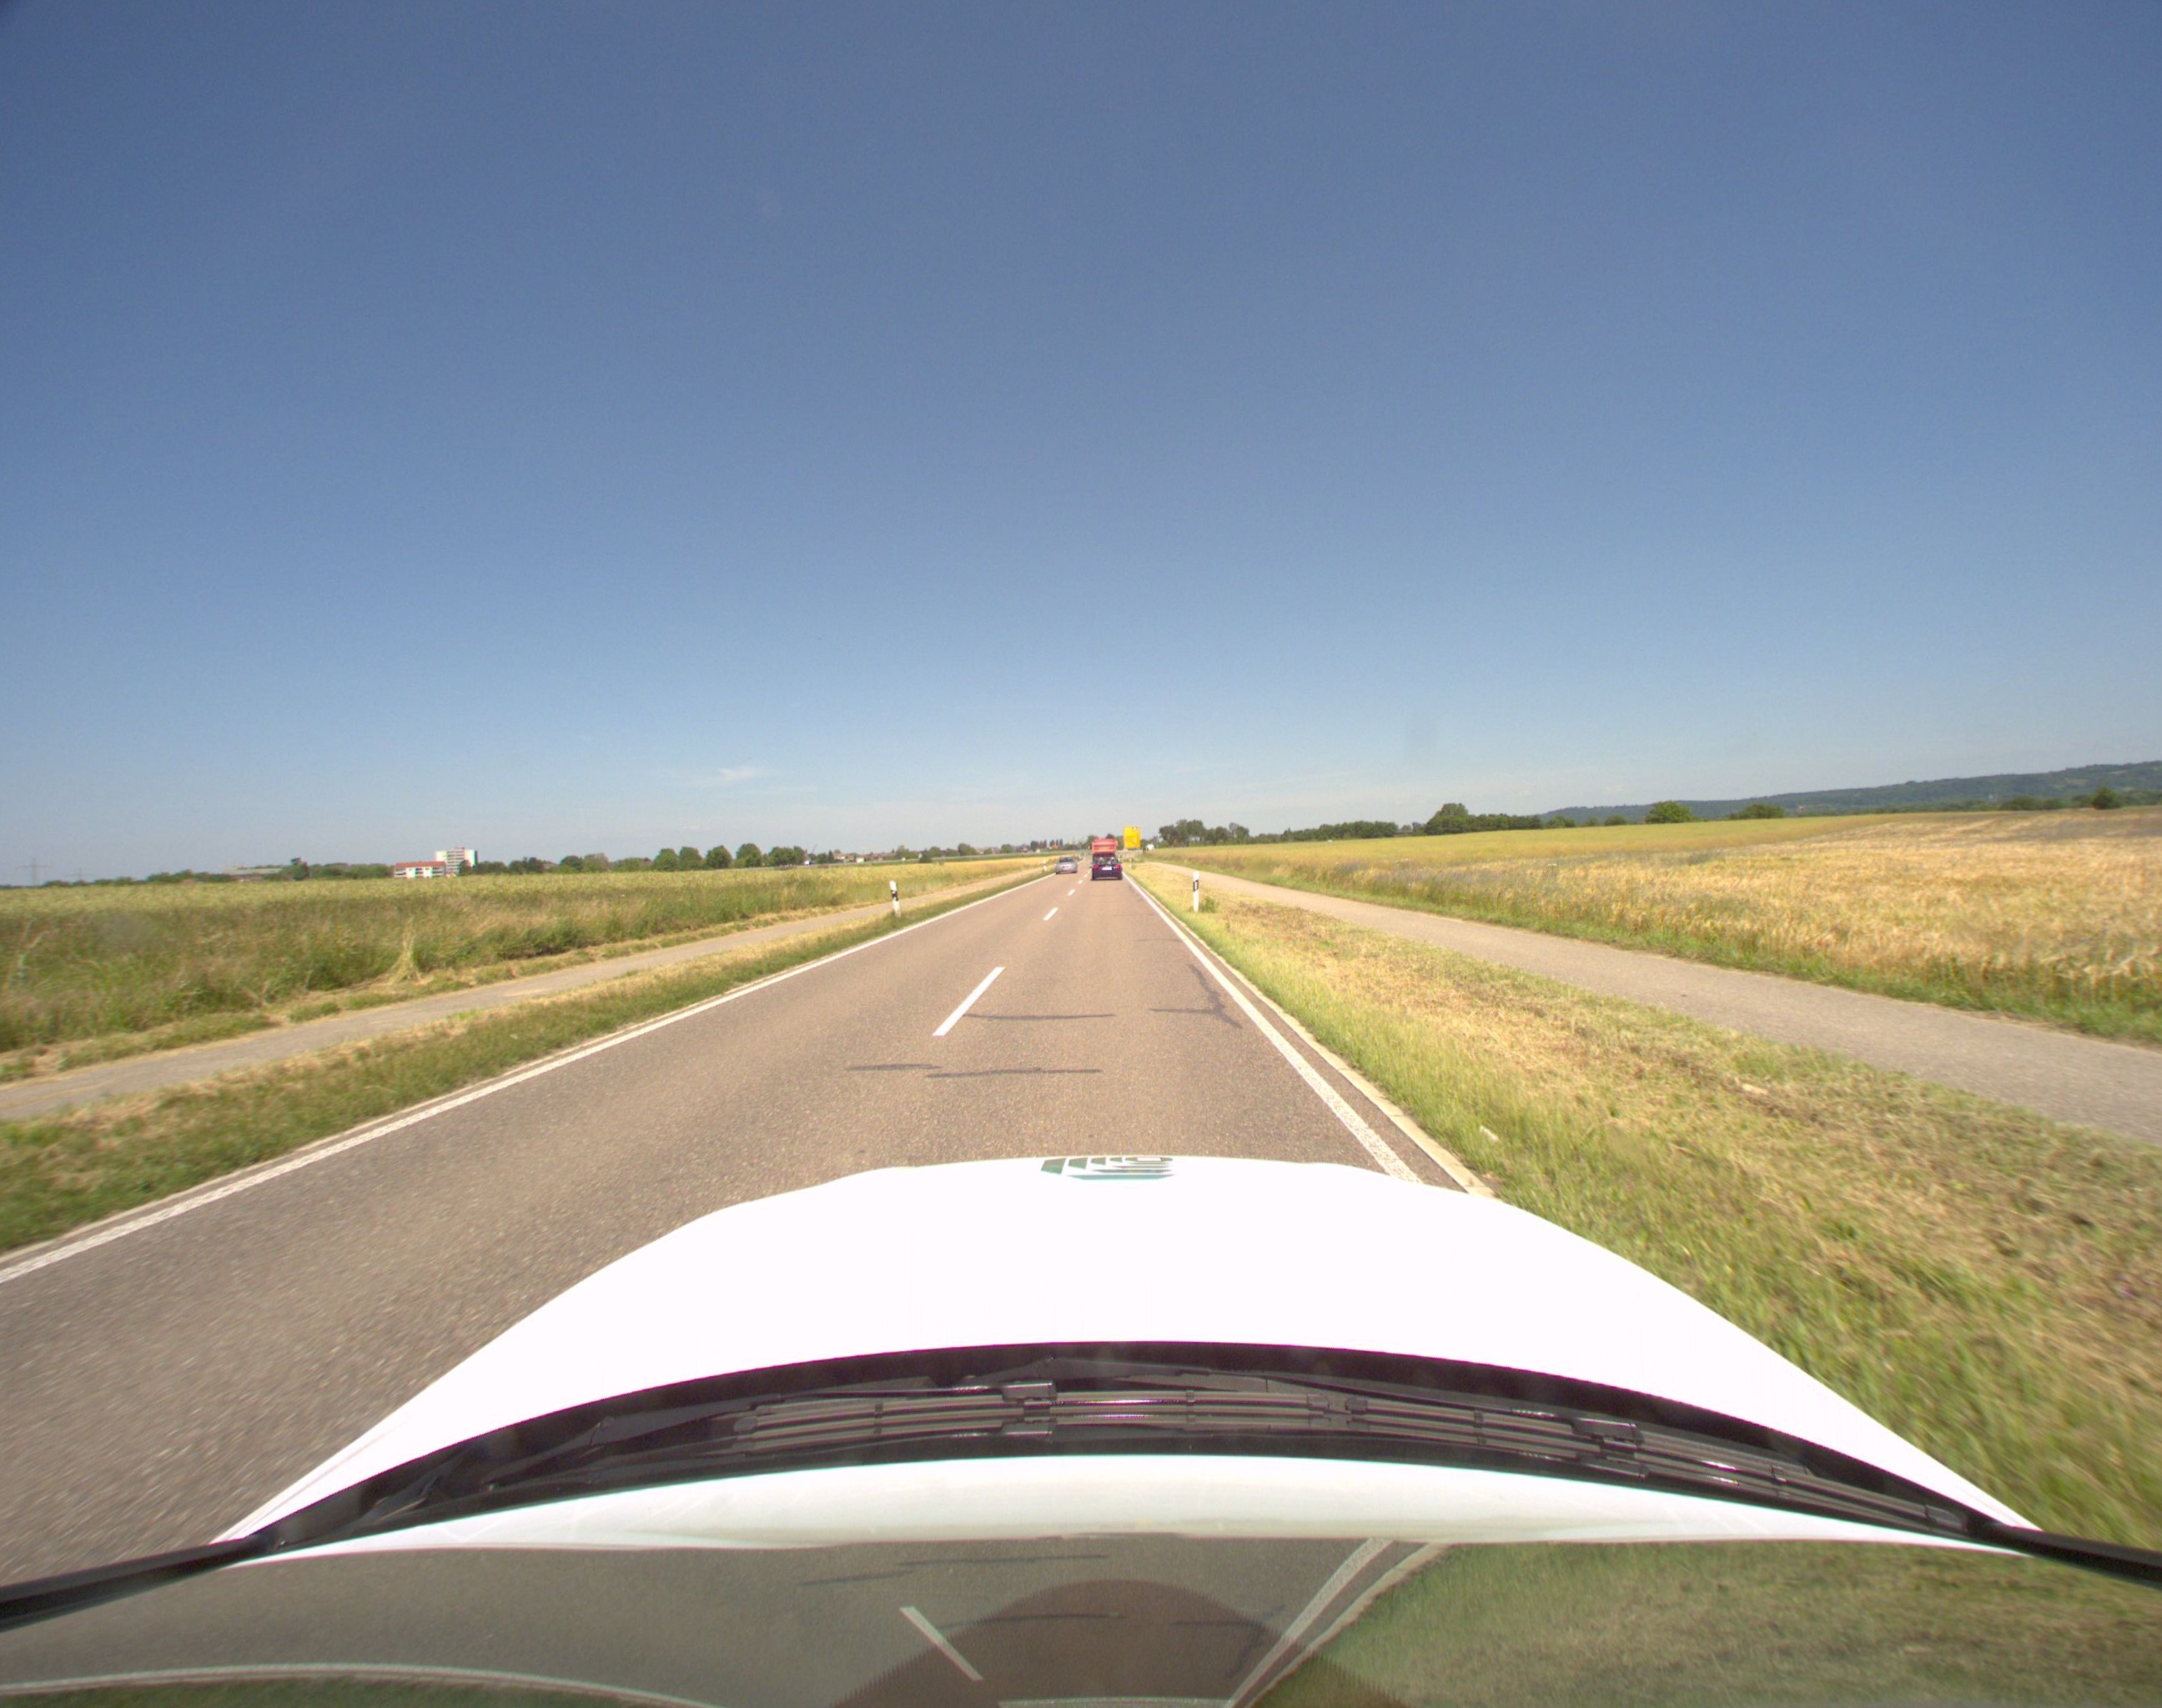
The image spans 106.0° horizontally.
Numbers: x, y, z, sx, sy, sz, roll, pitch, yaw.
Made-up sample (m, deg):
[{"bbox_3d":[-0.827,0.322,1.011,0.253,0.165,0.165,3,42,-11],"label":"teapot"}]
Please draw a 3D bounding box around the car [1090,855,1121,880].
[{"bbox_3d":[1.419,0.761,47.149,1.741,1.375,3.680,0,-1,2],"label":"car"}]

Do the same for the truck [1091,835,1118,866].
[{"bbox_3d":[2.509,-0.336,88.295,2.704,3.052,8.167,-2,-1,1],"label":"truck"}]

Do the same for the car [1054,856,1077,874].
[{"bbox_3d":[-1.269,0.883,67.705,1.741,1.400,4.033,-2,-1,1],"label":"car"}]
